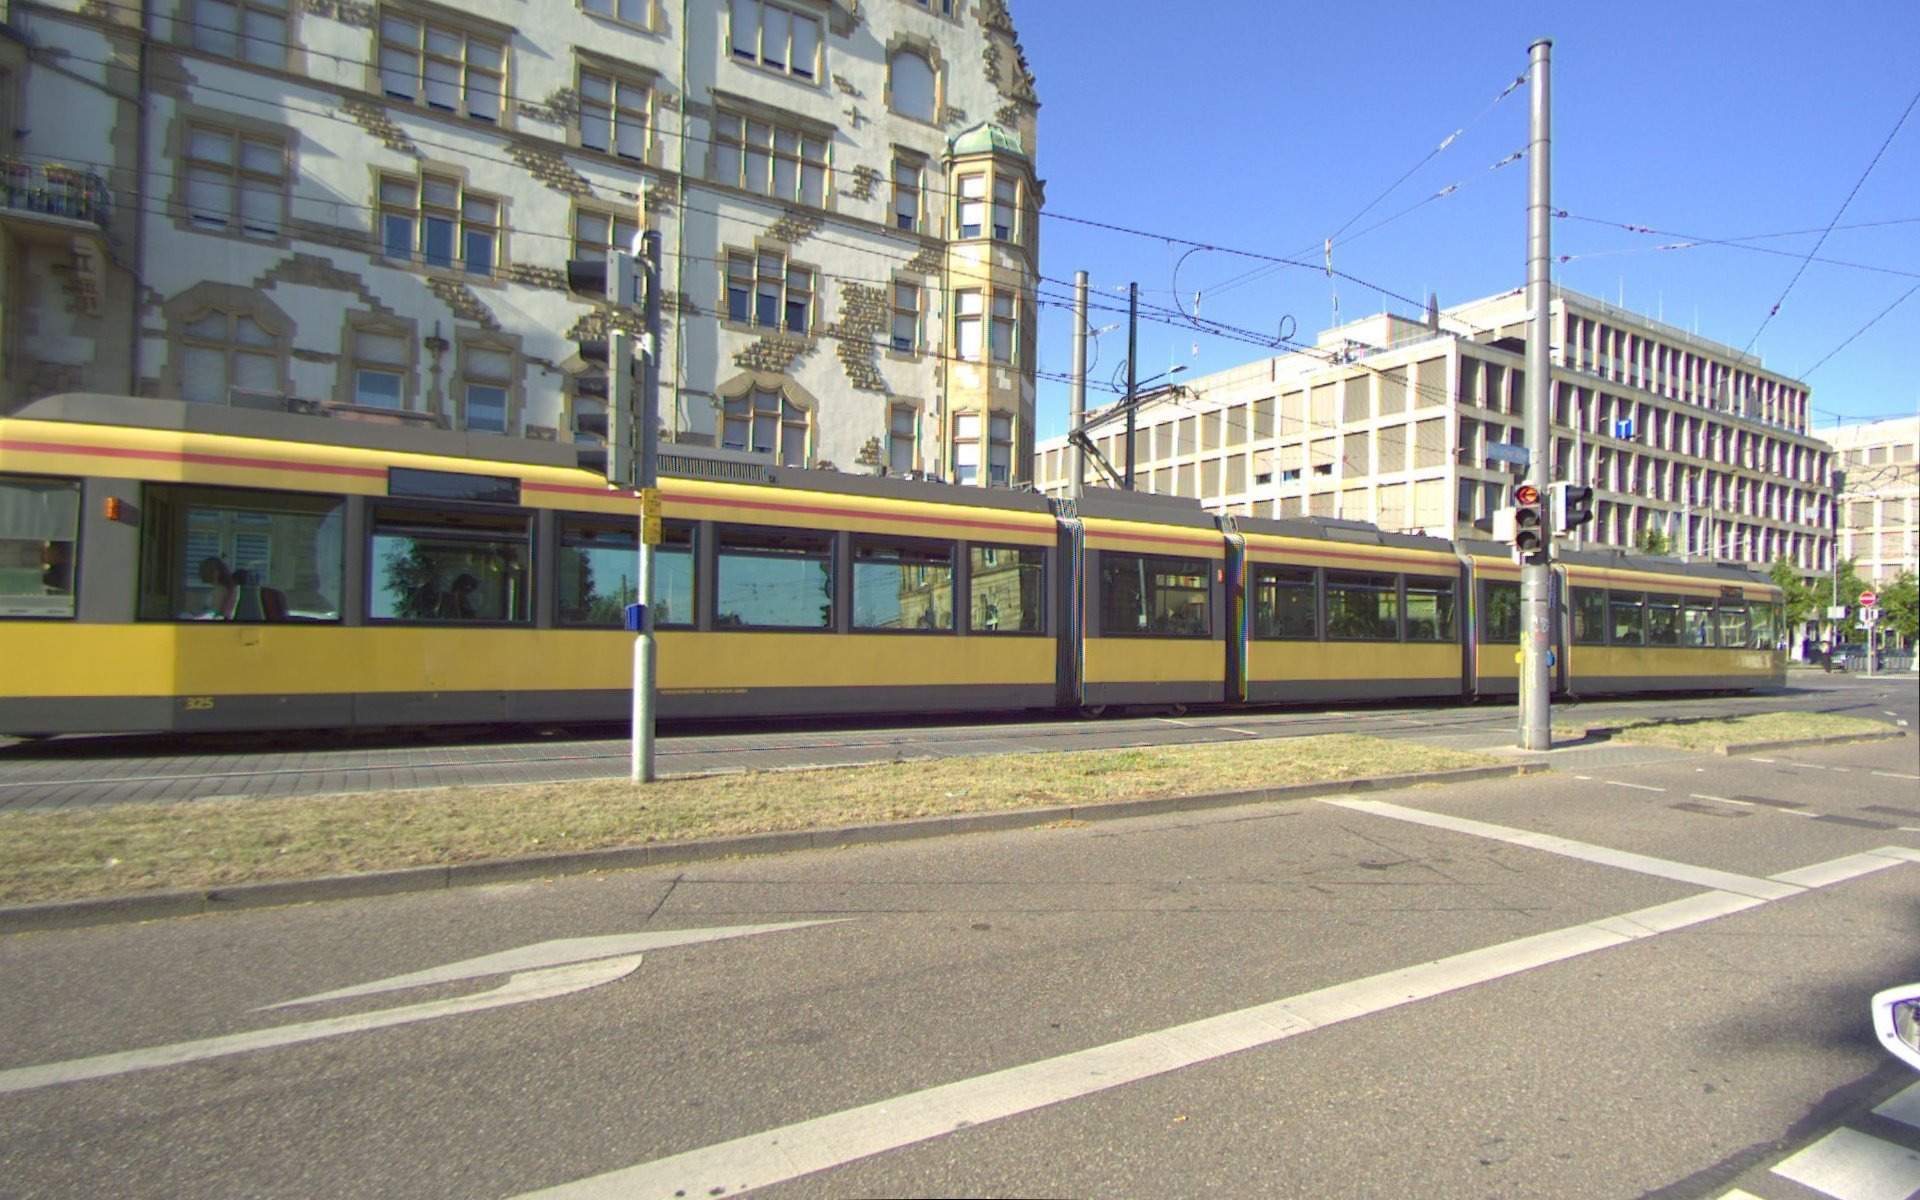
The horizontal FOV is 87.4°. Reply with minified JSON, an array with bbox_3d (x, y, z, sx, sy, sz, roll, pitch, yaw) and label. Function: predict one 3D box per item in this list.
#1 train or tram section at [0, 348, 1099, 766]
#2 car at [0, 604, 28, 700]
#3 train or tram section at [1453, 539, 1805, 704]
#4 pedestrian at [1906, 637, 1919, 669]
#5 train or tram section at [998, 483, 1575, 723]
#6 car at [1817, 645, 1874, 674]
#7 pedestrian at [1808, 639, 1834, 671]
[{"bbox_3d":[-4.252,-0.184,12.521,13.054,3.535,2.798,2,-2,-31],"label":"train or tram section"},{"bbox_3d":[-17.312,0.779,15.382,4.179,1.450,1.699,2,1,-34],"label":"car"},{"bbox_3d":[17.642,0.662,25.960,12.016,3.535,2.798,2,-2,-31],"label":"train or tram section"},{"bbox_3d":[51.035,2.839,53.698,0.609,1.686,0.513,0,-1,34],"label":"pedestrian"},{"bbox_3d":[6.941,0.258,19.387,13.054,3.535,2.798,2,-2,-31],"label":"train or tram section"},{"bbox_3d":[59.313,3.984,67.252,4.067,1.836,1.832,2,-2,-32],"label":"car"},{"bbox_3d":[41.577,2.654,48.509,0.616,1.552,0.754,1,-1,-27],"label":"pedestrian"}]
